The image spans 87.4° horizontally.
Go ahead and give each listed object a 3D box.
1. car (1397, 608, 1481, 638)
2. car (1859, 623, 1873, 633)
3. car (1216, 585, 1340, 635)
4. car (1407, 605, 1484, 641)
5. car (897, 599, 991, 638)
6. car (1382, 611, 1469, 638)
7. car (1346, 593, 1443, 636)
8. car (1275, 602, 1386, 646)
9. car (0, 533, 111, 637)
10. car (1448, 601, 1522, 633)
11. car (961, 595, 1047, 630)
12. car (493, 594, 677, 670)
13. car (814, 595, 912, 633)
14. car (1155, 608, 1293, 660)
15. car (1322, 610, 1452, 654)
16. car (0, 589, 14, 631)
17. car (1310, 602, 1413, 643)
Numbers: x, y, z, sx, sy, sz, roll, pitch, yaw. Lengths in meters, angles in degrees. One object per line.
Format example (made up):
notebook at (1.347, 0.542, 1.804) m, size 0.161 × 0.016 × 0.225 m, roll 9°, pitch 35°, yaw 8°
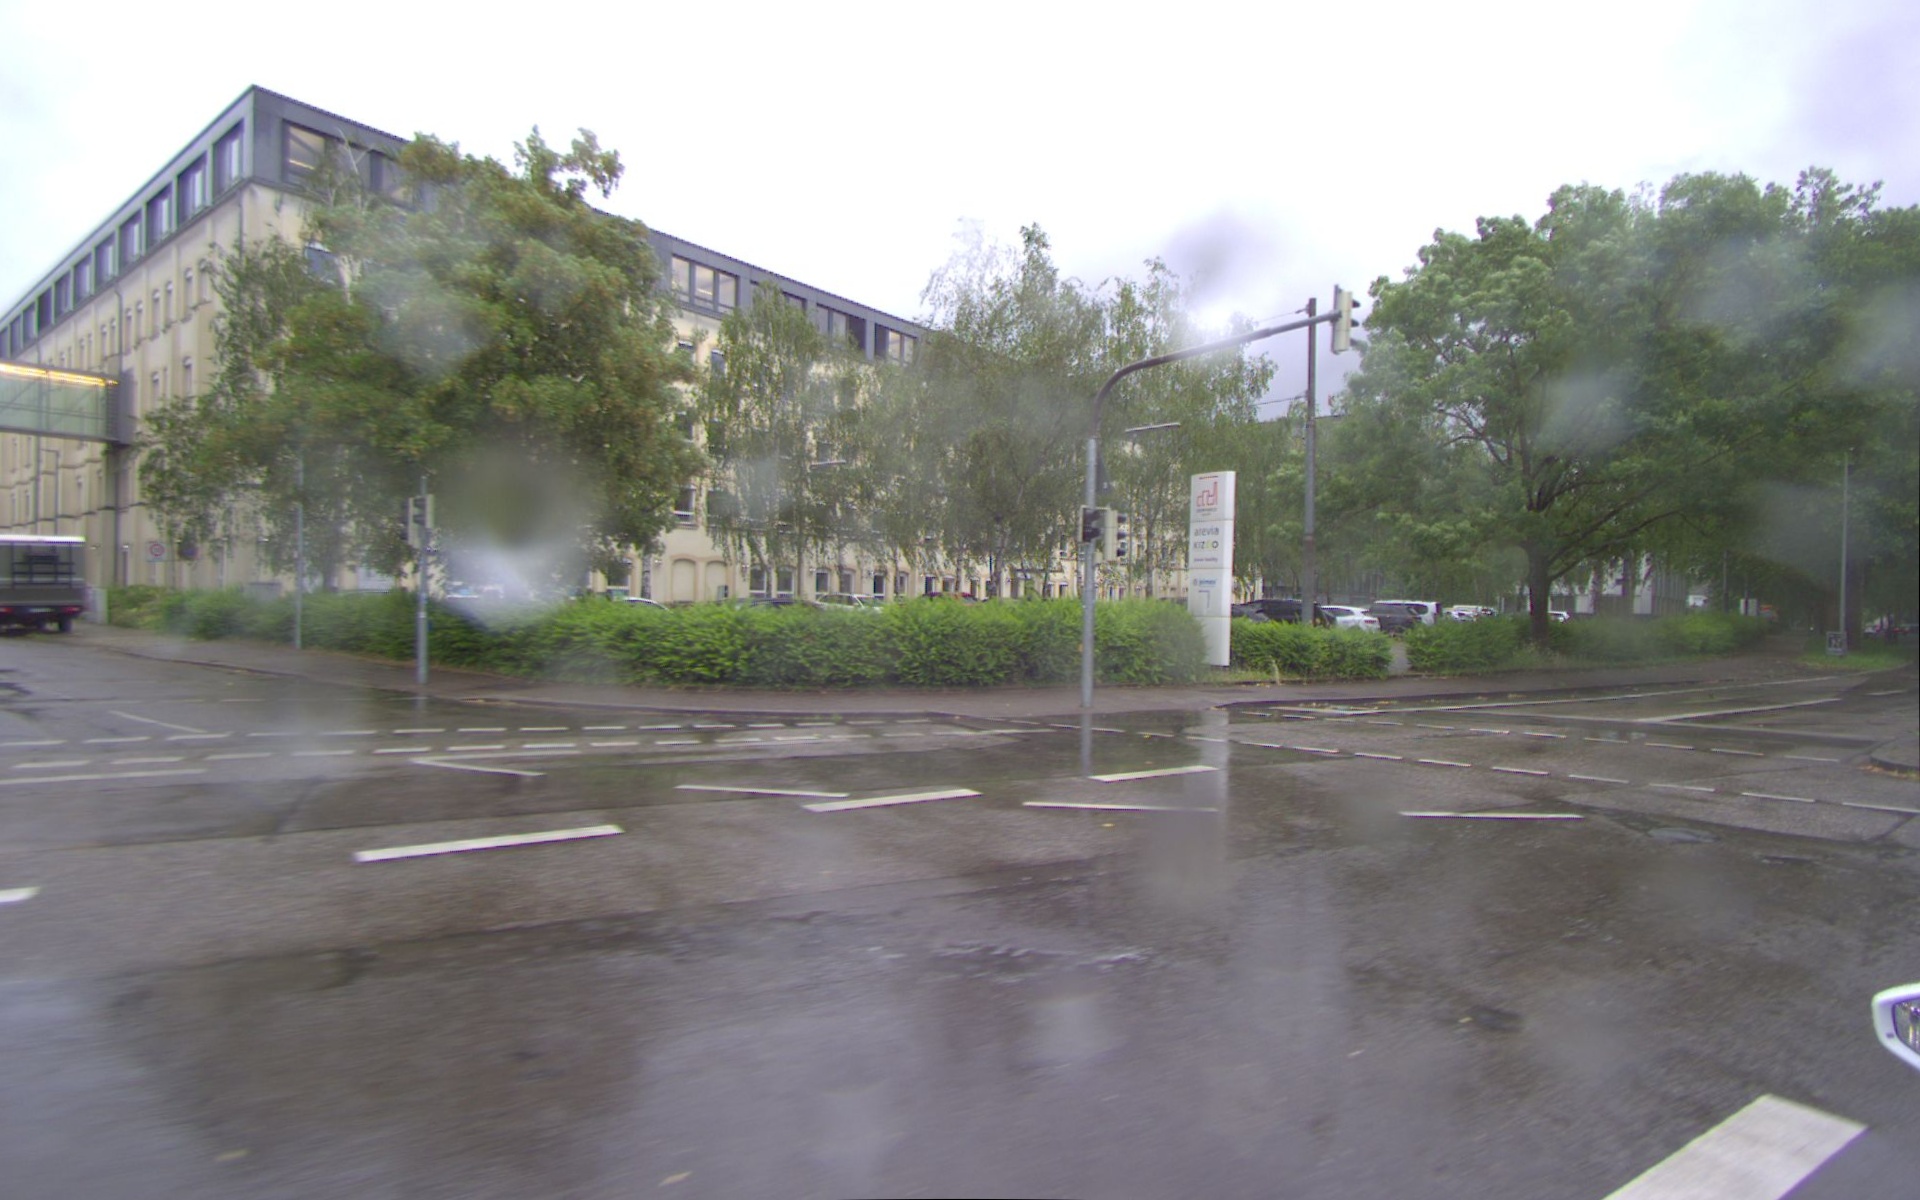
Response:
car at (27.663, 1.286, 58.074) m, size 3.945 × 1.571 × 1.874 m, roll 2°, pitch 1°, yaw 44°
car at (147.712, 4.563, 163.765) m, size 1.659 × 1.407 × 4.526 m, roll 0°, pitch -1°, yaw 41°
car at (11.467, 0.321, 36.352) m, size 1.640 × 1.633 × 3.946 m, roll 0°, pitch 1°, yaw -45°
car at (30.192, 1.375, 62.501) m, size 3.943 × 2.161 × 1.989 m, roll 0°, pitch 0°, yaw 43°
car at (-0.764, 0.820, 46.437) m, size 3.934 × 1.708 × 1.993 m, roll 0°, pitch 0°, yaw 35°
car at (25.358, 1.295, 54.815) m, size 3.945 × 1.392 × 1.874 m, roll 0°, pitch 0°, yaw 44°
car at (20.794, 0.665, 48.114) m, size 3.937 × 1.857 × 1.847 m, roll 2°, pitch 1°, yaw 38°
car at (15.609, 0.988, 42.383) m, size 3.937 × 1.660 × 1.992 m, roll 2°, pitch 1°, yaw 38°
car at (-31.328, -0.541, 34.066) m, size 6.120 × 3.236 × 2.826 m, roll 2°, pitch 1°, yaw 39°
car at (34.504, 1.110, 66.013) m, size 3.943 × 2.040 × 1.989 m, roll 0°, pitch 0°, yaw 42°
car at (2.191, 0.614, 50.434) m, size 3.939 × 1.708 × 1.991 m, roll 0°, pitch 0°, yaw 40°
car at (-9.184, 0.742, 24.882) m, size 1.752 × 1.708 × 4.012 m, roll 0°, pitch 0°, yaw 34°
car at (-4.143, 0.550, 42.708) m, size 3.939 × 1.539 × 1.991 m, roll 0°, pitch 0°, yaw 39°
car at (8.408, 1.038, 32.273) m, size 1.906 × 1.442 × 3.958 m, roll 1°, pitch 1°, yaw -37°
car at (15.155, 1.093, 35.842) m, size 1.700 × 1.356 × 3.957 m, roll 1°, pitch 1°, yaw -37°
car at (-41.798, 0.396, 42.658) m, size 3.939 × 1.704 × 1.885 m, roll 2°, pitch 1°, yaw 39°
car at (18.111, 0.972, 45.375) m, size 3.942 × 1.660 × 1.700 m, roll 2°, pitch 1°, yaw 42°
